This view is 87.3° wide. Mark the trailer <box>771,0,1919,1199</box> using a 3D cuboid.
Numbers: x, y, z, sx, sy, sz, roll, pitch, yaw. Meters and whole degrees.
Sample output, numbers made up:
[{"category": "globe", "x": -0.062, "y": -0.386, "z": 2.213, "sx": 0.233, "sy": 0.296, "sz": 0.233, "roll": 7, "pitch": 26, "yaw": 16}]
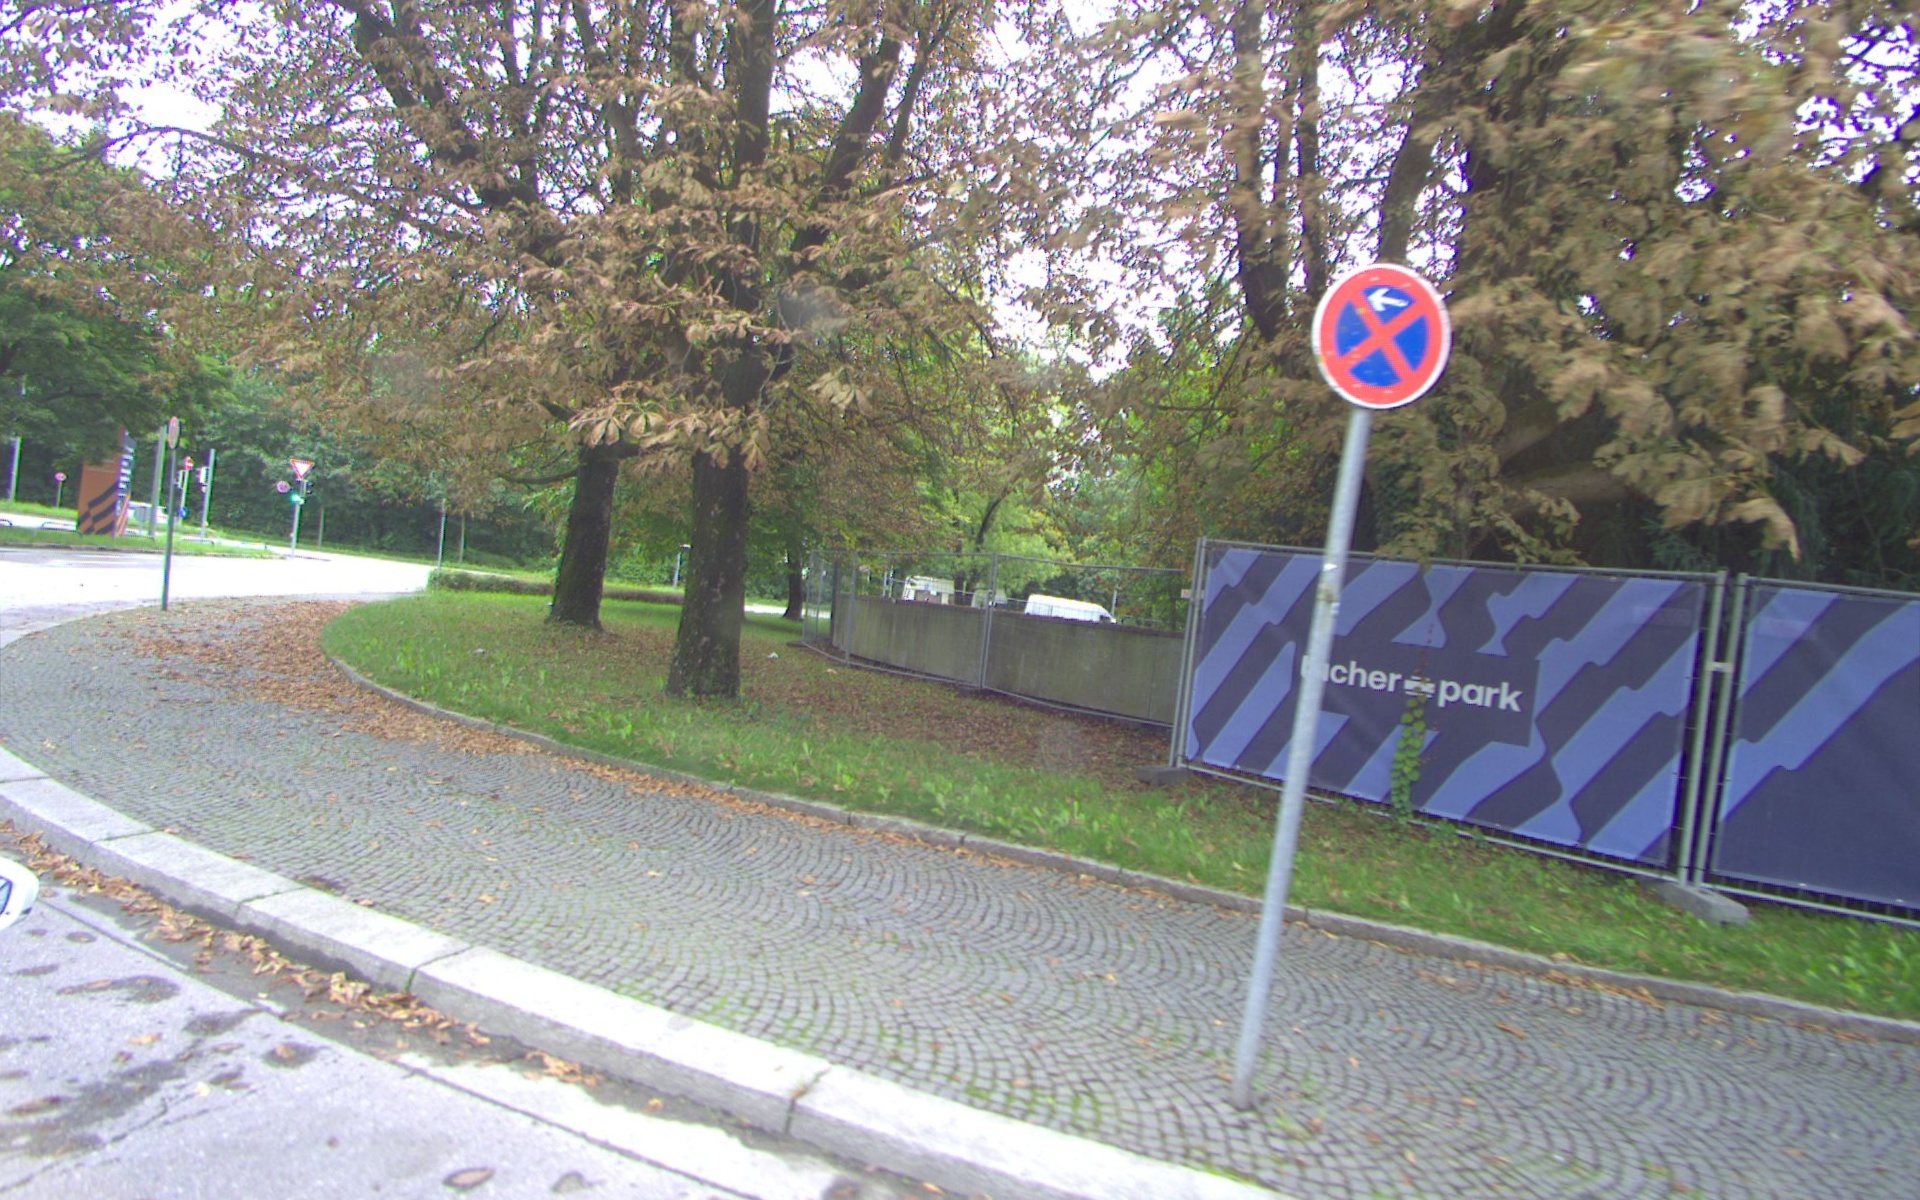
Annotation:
[{"category": "trailer", "x": 2.348, "y": 0.699, "z": 1.012, "sx": 4.745, "sy": 2.038, "sz": 1.815, "roll": 6, "pitch": 0, "yaw": 21}]

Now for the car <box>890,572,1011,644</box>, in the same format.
[{"category": "car", "x": -0.500, "y": 0.410, "z": 49.726, "sx": 5.502, "sy": 2.767, "sz": 2.074, "roll": 8, "pitch": 0, "yaw": -9}]

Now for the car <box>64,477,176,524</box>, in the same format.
[{"category": "car", "x": -45.189, "y": -5.337, "z": 54.203, "sx": 4.055, "sy": 1.771, "sz": 1.997, "roll": 8, "pitch": 0, "yaw": -9}]

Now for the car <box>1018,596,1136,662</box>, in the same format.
[{"category": "car", "x": 5.887, "y": 1.458, "z": 50.998, "sx": 5.365, "sy": 2.612, "sz": 2.074, "roll": 8, "pitch": 0, "yaw": -9}]
